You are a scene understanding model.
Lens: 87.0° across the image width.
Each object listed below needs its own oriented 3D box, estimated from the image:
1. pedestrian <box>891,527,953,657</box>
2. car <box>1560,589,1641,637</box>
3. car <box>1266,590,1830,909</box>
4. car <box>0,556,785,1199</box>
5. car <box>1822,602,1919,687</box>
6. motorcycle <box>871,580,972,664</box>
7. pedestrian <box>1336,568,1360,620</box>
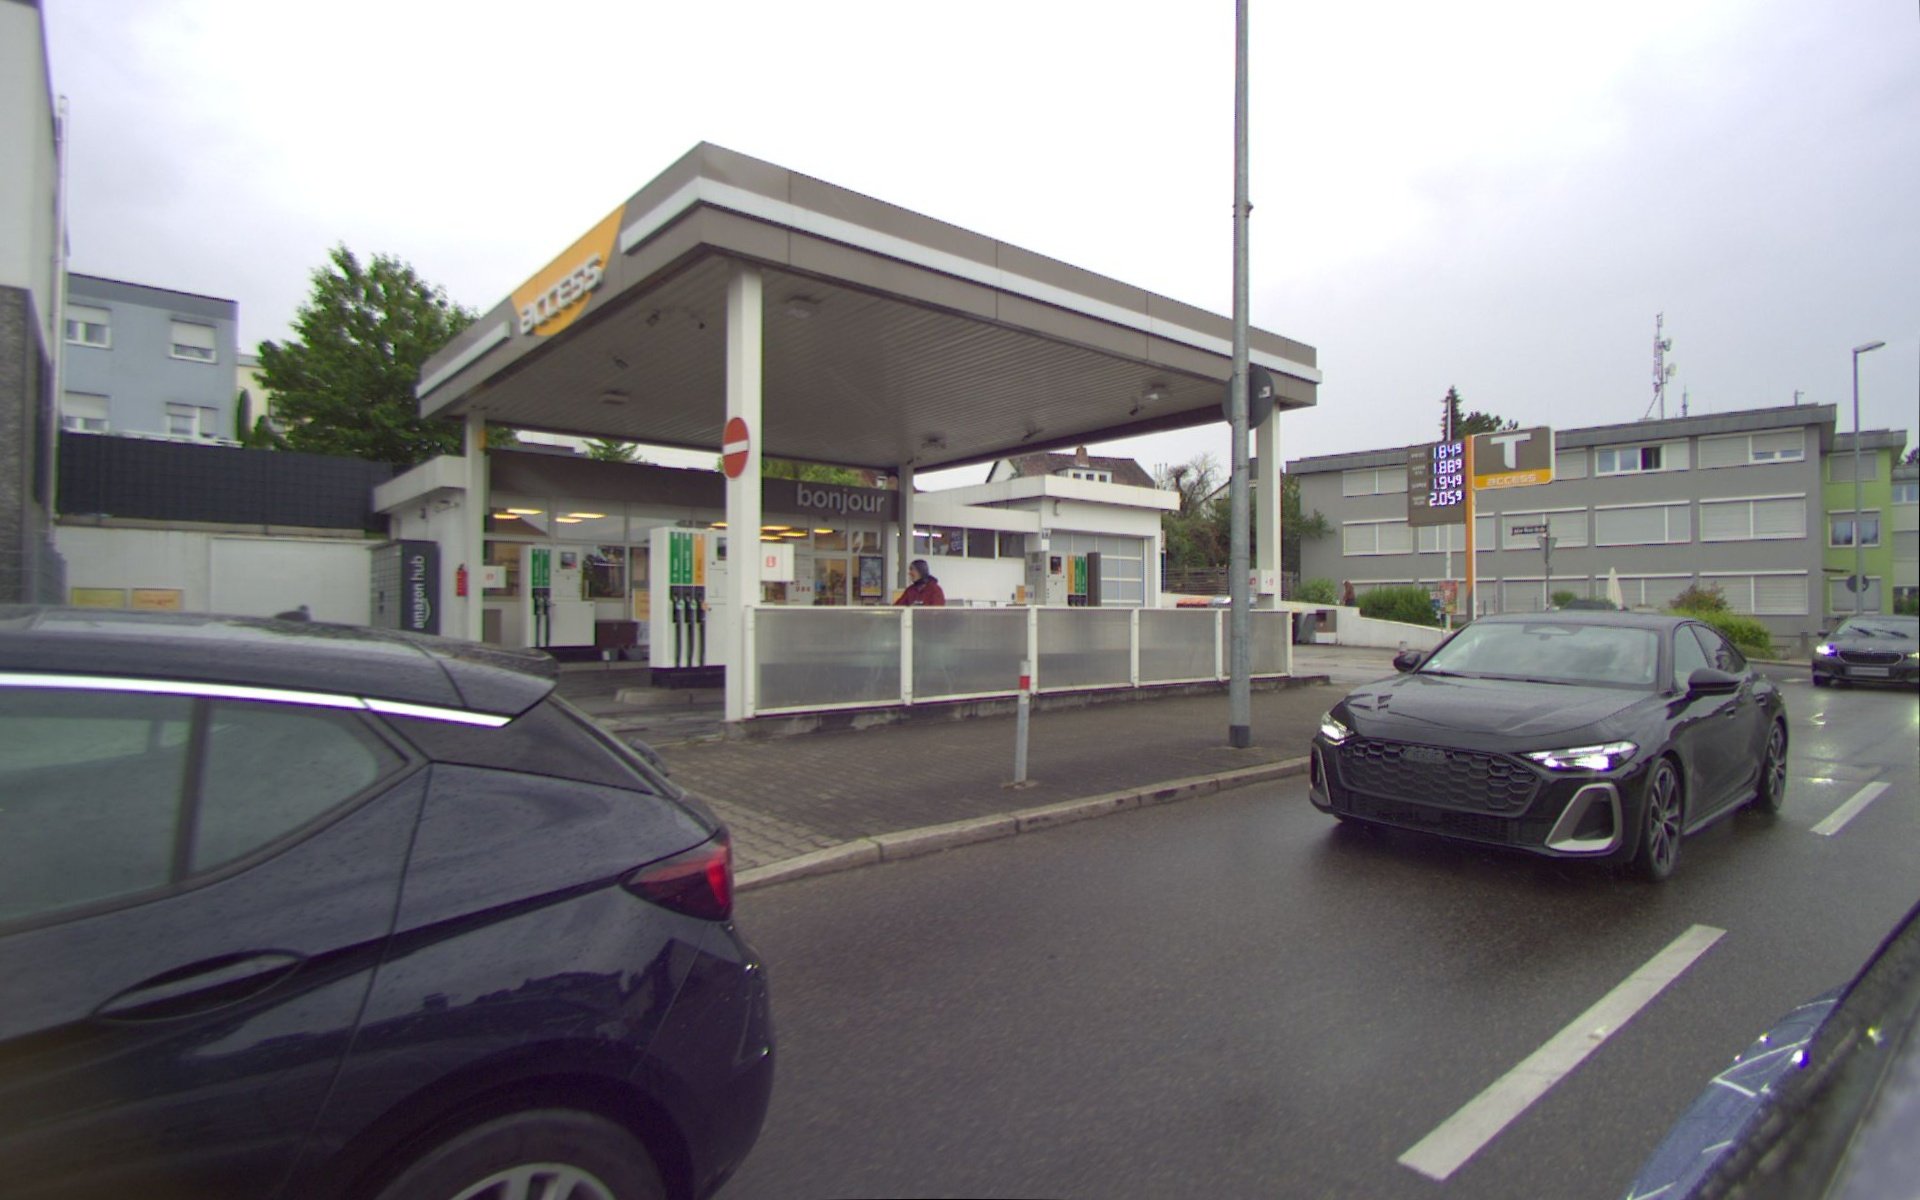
[{"bbox_3d":[-0.511,-0.101,13.487,0.575,1.677,0.611,0,0,-40],"label":"pedestrian"},{"bbox_3d":[23.205,0.412,36.614,1.809,1.545,3.940,5,3,41],"label":"car"},{"bbox_3d":[4.184,0.661,6.818,4.656,1.442,1.869,0,0,-41],"label":"car"},{"bbox_3d":[-2.390,0.684,1.334,3.929,1.468,1.760,0,0,-40],"label":"car"},{"bbox_3d":[19.055,0.836,20.472,3.929,1.538,1.871,0,0,-40],"label":"car"},{"bbox_3d":[-0.501,0.279,13.500,1.366,1.068,0.463,0,0,-41],"label":"motorcycle"},{"bbox_3d":[15.491,-0.235,40.421,0.716,2.039,0.605,-1,0,45],"label":"pedestrian"}]
